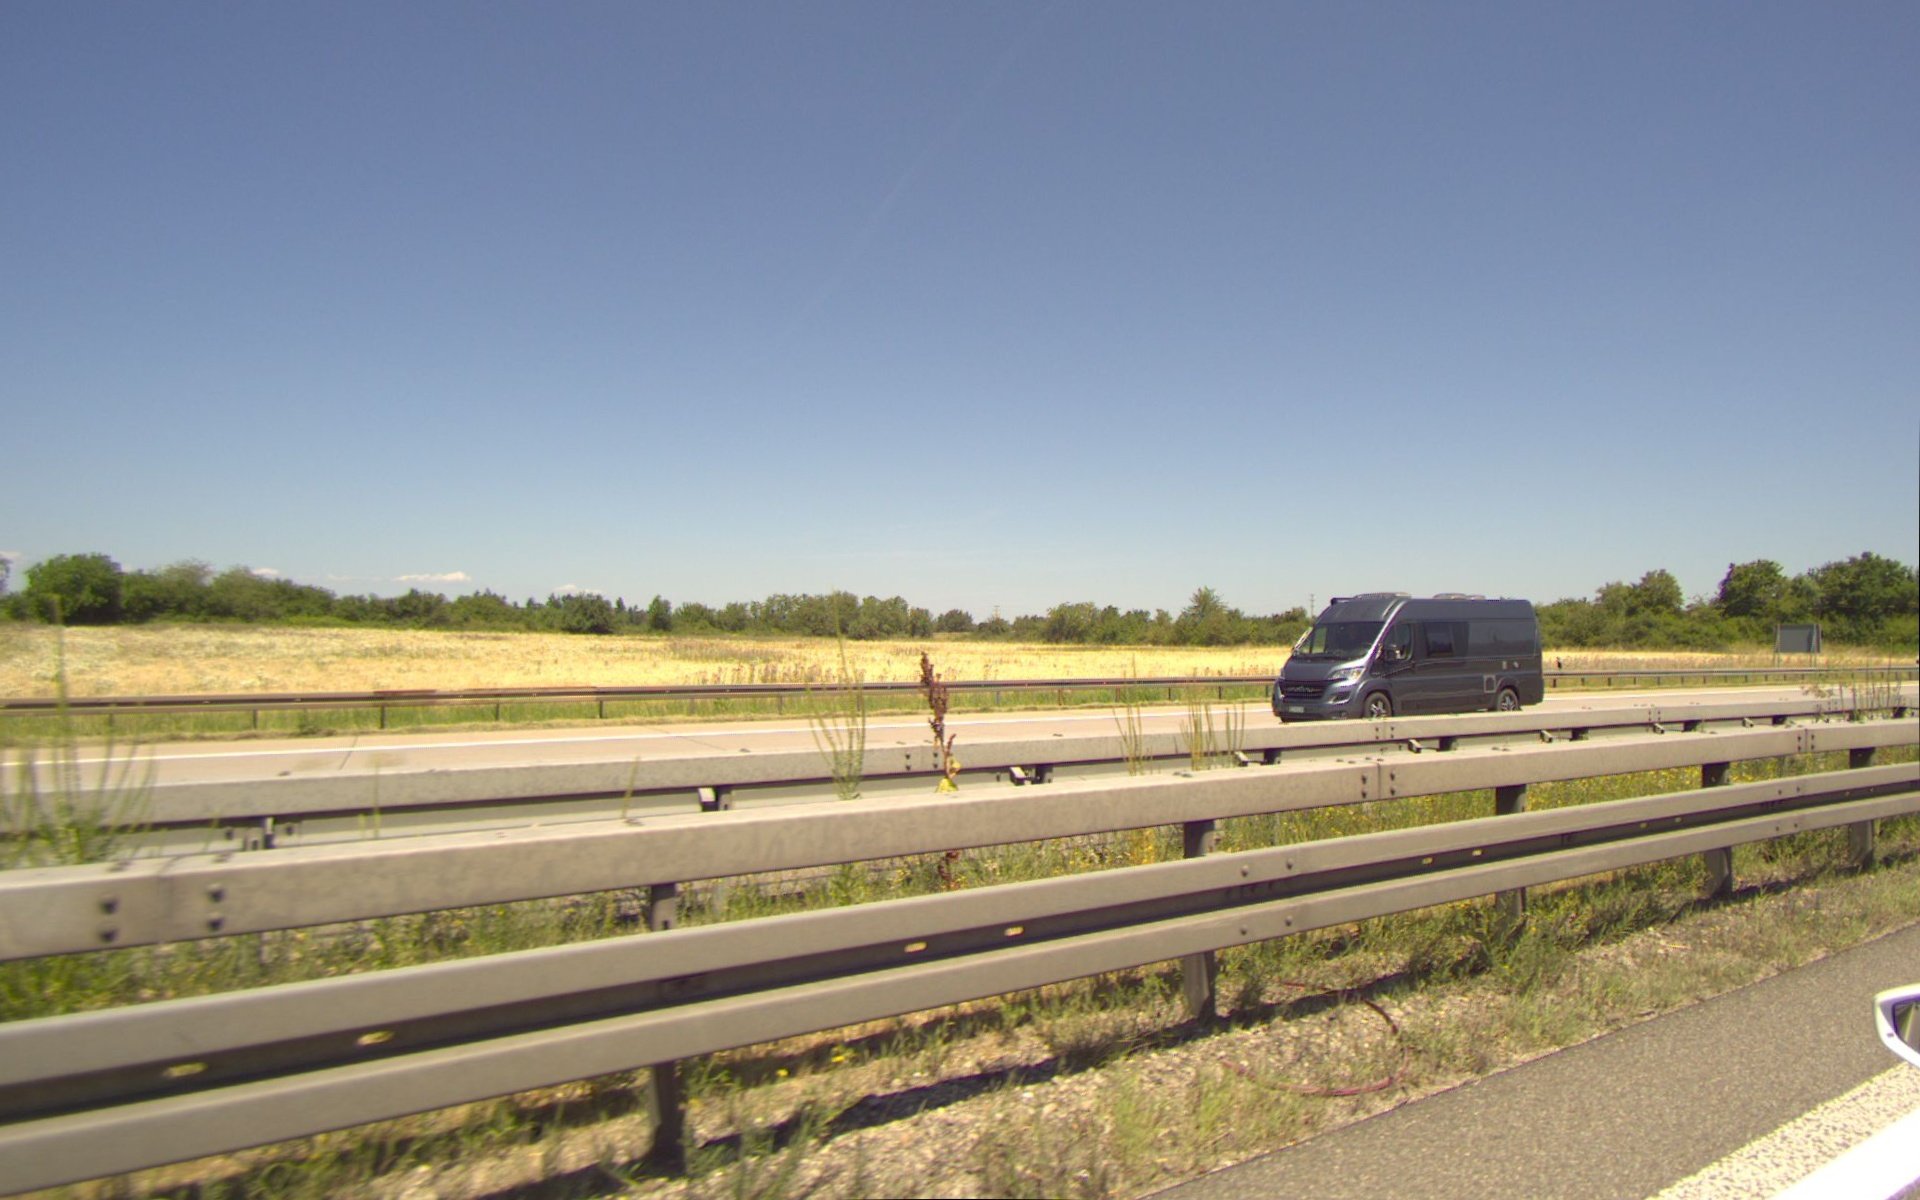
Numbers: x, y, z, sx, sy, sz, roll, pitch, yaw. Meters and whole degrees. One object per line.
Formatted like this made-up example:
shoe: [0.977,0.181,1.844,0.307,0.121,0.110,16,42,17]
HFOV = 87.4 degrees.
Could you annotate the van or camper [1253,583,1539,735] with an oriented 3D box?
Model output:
van or camper: [8.634,1.149,19.728,5.806,2.622,2.160,2,-4,-31]
